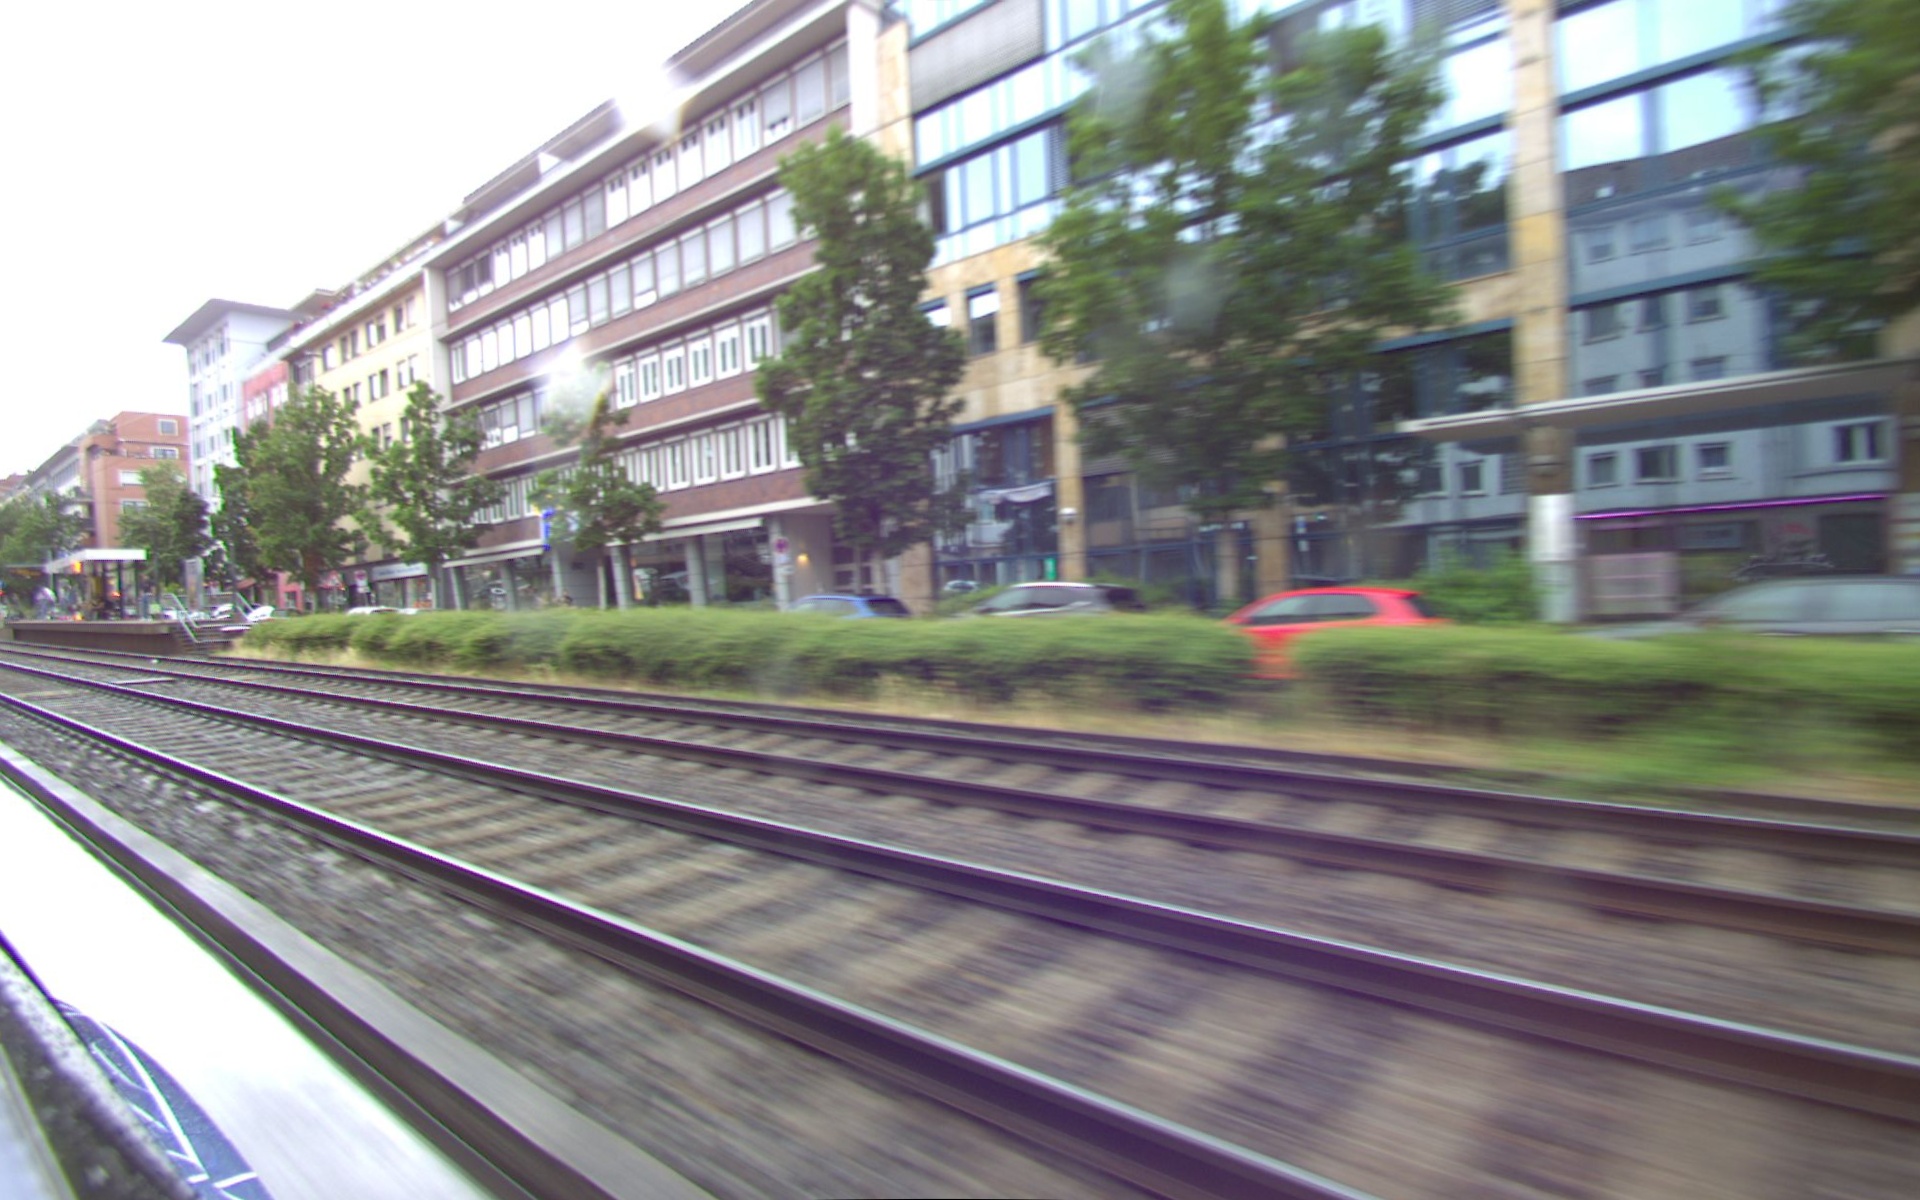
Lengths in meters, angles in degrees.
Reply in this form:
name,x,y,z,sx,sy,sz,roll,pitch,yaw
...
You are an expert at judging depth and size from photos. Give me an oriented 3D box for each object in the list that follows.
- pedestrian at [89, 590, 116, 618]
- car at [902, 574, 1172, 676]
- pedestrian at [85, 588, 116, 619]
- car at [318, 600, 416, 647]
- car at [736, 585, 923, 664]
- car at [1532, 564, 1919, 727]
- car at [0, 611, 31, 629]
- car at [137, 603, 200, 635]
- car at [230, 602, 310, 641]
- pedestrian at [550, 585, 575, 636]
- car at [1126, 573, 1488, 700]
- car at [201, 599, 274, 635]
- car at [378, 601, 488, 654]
name,x,y,z,sx,sy,sz,roll,pitch,yaw
pedestrian,-38.384,0.176,45.321,0.637,1.265,0.805,-1,0,38
car,1.221,0.403,17.610,4.619,1.552,1.632,-1,0,41
pedestrian,-38.871,0.148,45.784,0.637,1.396,0.946,-1,0,38
car,-22.634,0.862,38.598,3.996,1.674,1.974,-1,0,40
car,-2.820,0.490,21.390,4.065,1.509,1.632,-1,0,41
car,8.916,0.430,10.833,4.619,1.552,1.632,-1,0,41
car,-94.916,2.002,101.513,3.996,1.674,1.974,-1,0,40
car,-44.205,1.061,56.513,3.996,1.674,1.974,-1,0,40
car,-31.372,0.962,45.998,3.996,1.674,1.974,-1,0,40
pedestrian,-14.994,0.399,38.175,0.743,1.883,0.569,-1,0,41
car,4.792,0.463,14.469,4.619,1.552,1.632,-1,0,41
car,-35.560,0.809,49.787,3.996,1.674,1.974,-1,0,40
car,-18.323,0.927,35.120,3.996,1.674,1.974,-1,0,40
